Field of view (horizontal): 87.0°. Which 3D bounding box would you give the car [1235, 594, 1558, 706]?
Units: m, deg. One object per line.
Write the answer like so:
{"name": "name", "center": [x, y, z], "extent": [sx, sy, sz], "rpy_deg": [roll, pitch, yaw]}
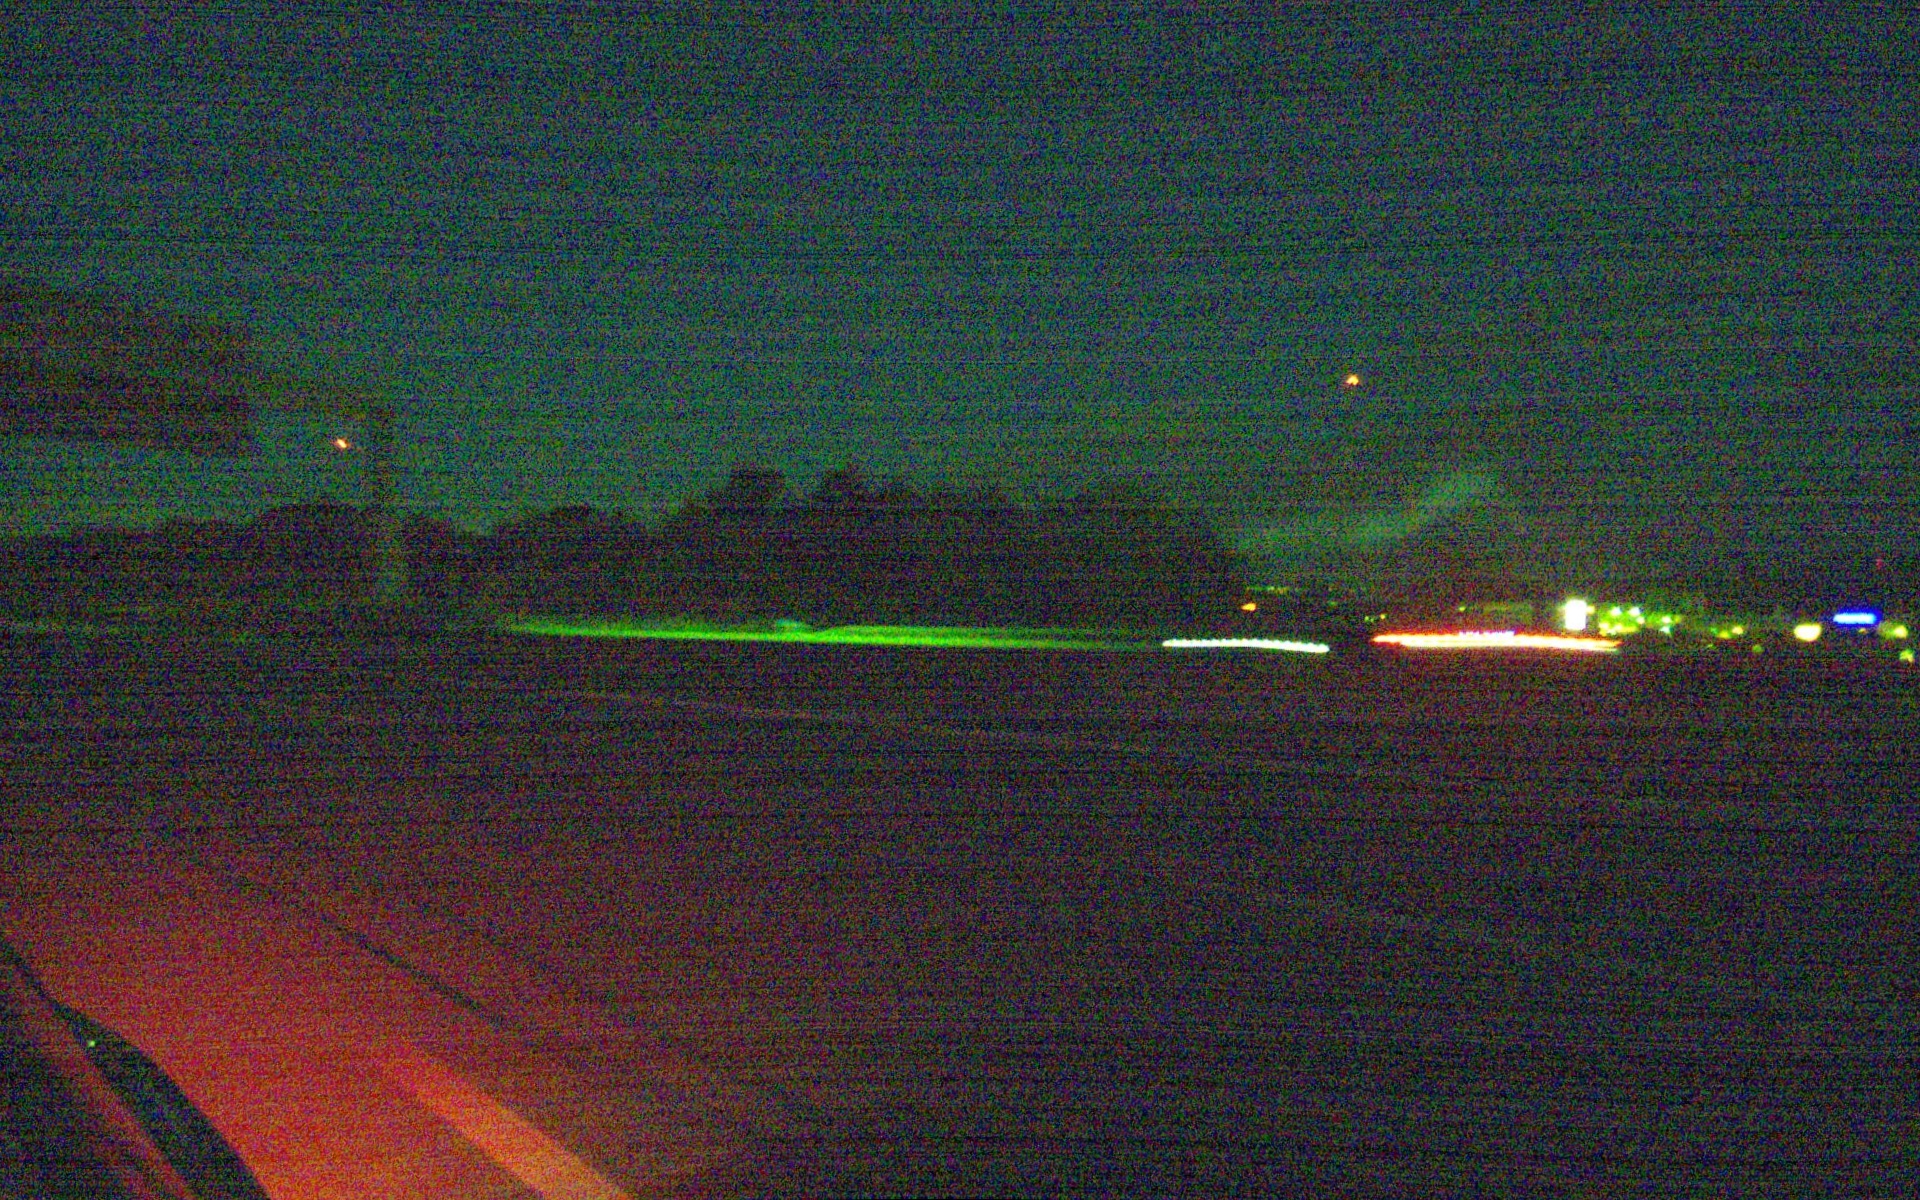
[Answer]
{"name": "car", "center": [7.834, 0.824, 18.512], "extent": [5.068, 1.758, 1.973], "rpy_deg": [-1, 0, 41]}
